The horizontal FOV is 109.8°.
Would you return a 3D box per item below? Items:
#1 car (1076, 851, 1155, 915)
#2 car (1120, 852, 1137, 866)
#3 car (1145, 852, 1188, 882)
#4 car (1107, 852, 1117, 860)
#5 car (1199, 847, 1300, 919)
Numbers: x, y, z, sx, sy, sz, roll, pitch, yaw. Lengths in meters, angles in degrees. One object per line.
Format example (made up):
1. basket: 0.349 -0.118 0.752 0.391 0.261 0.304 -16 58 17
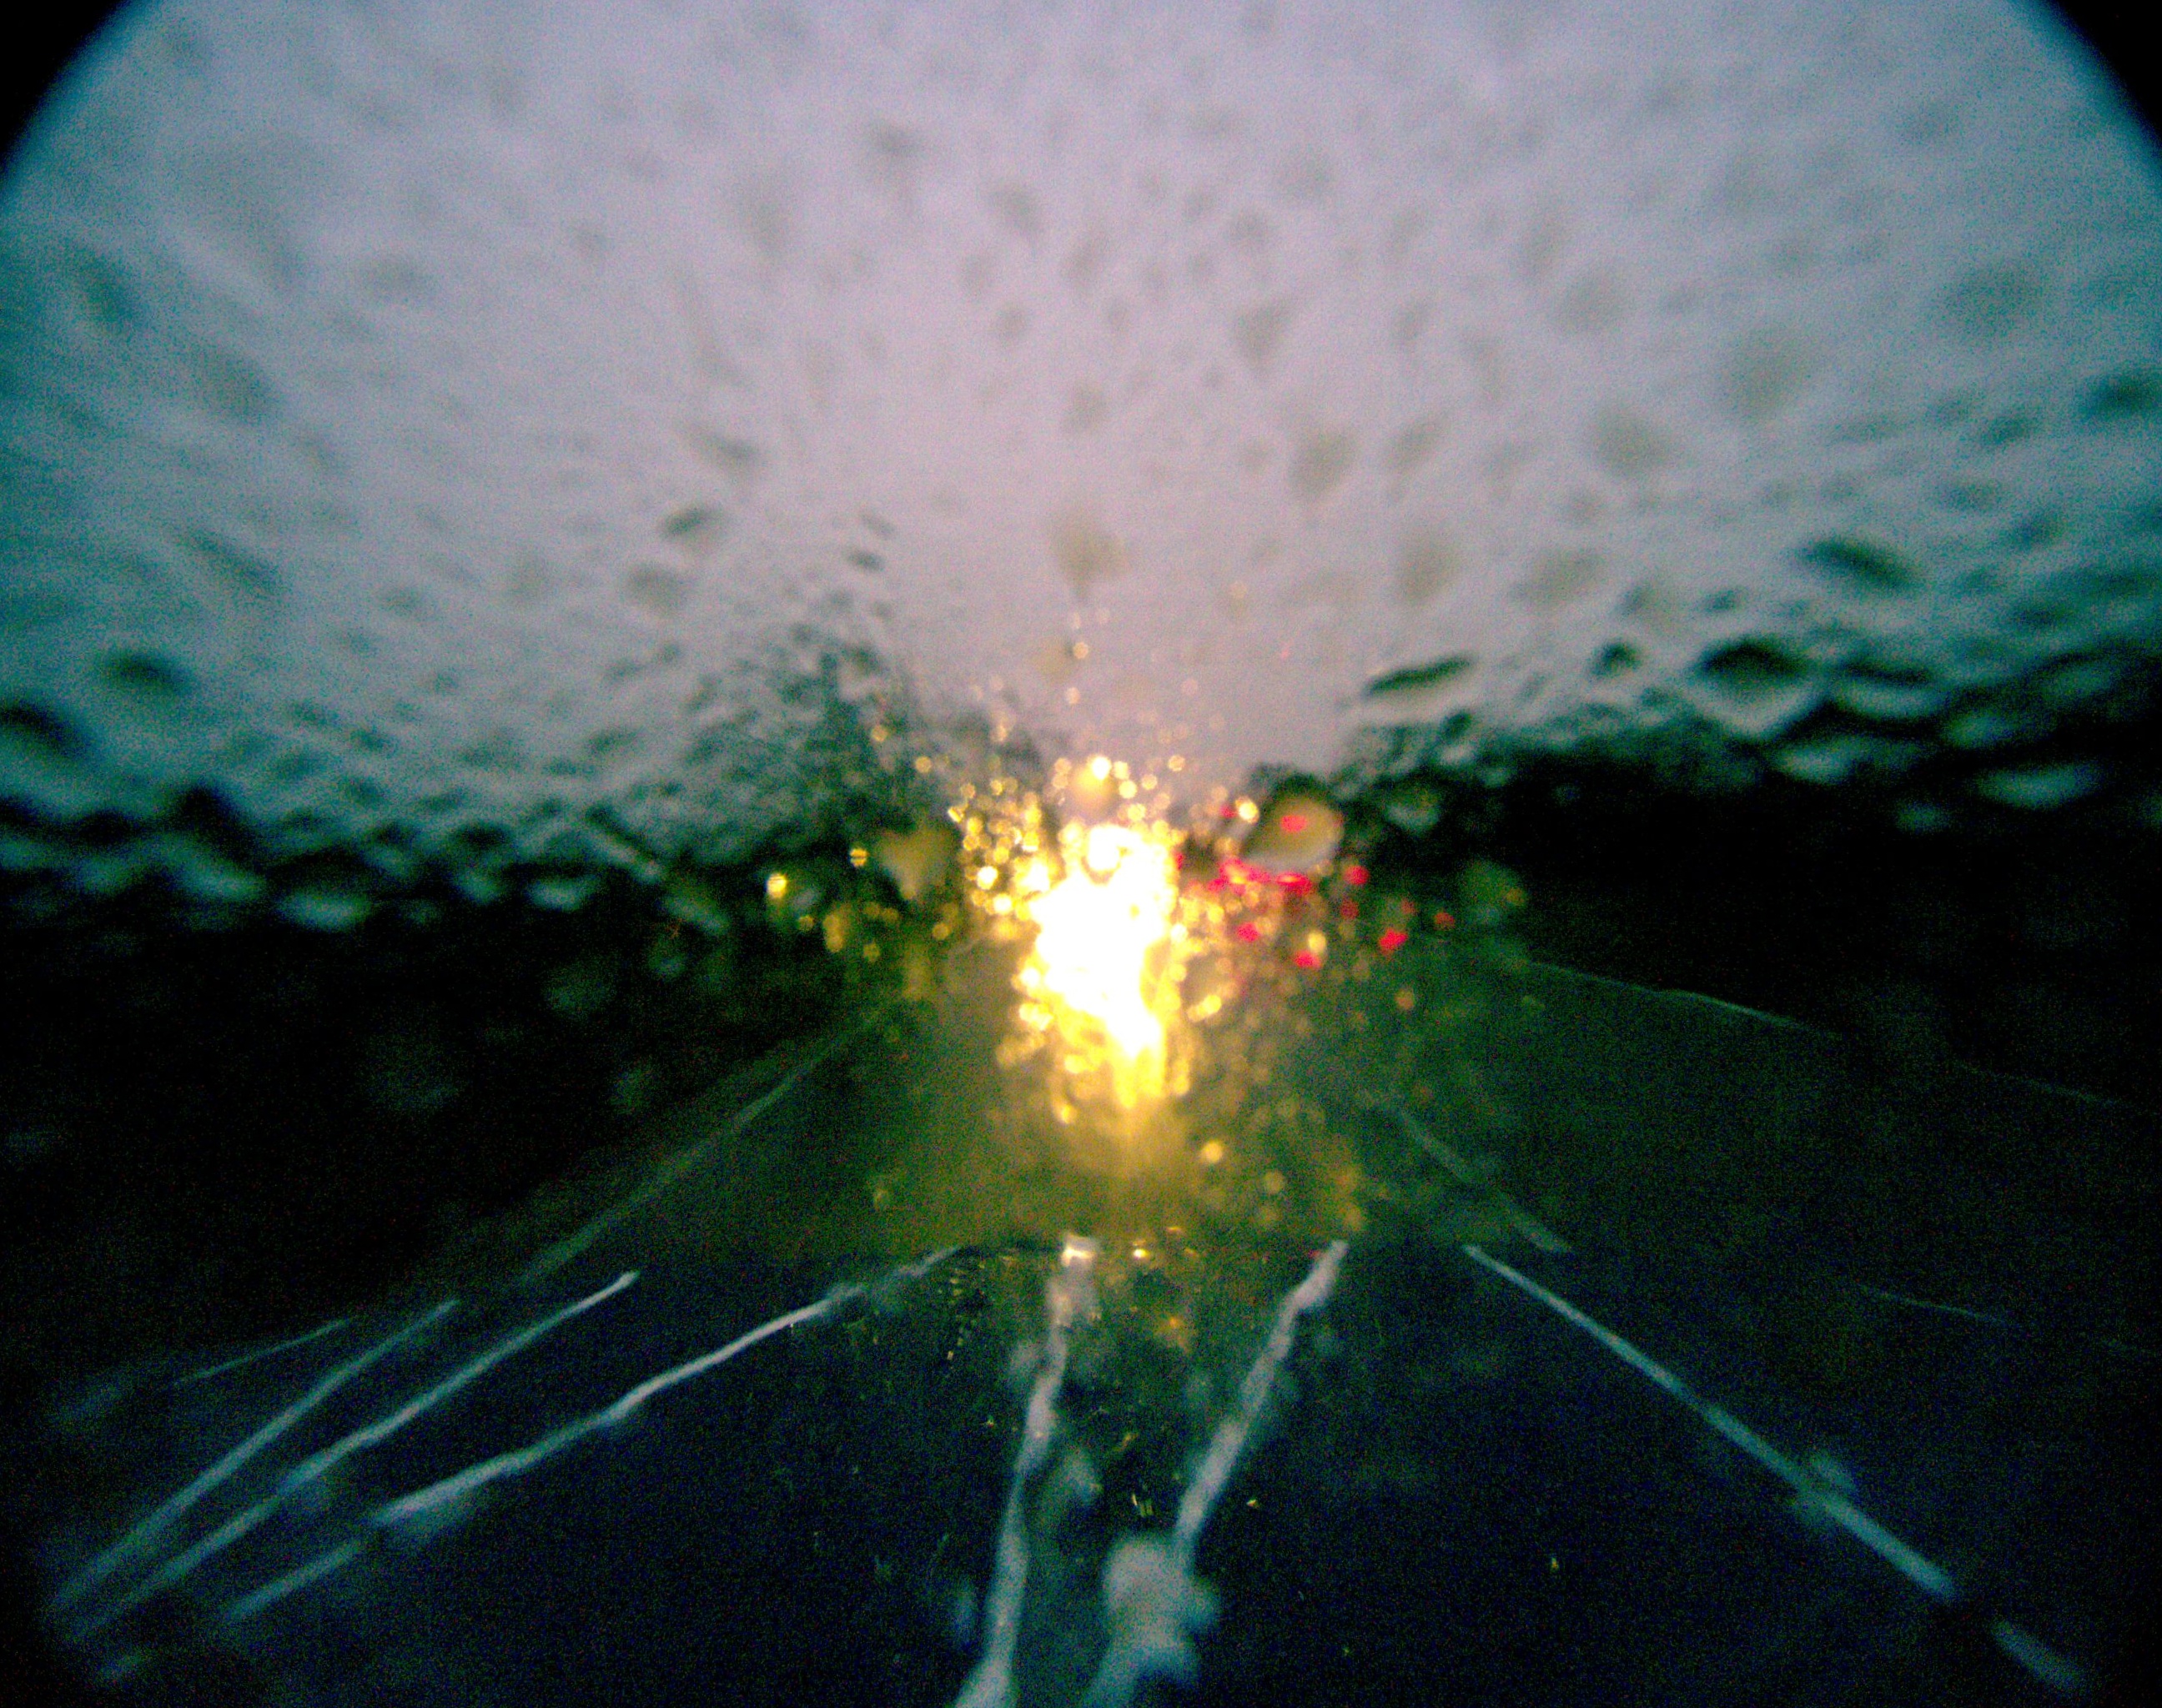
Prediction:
1. car: 1.070 0.759 21.815 1.998 1.601 4.001 -2 0 5
2. car: 5.397 0.574 87.256 1.755 1.465 3.891 -2 0 1
3. car: 4.611 0.689 41.417 1.830 1.490 4.095 -2 0 0
4. car: 6.298 0.354 153.225 1.821 1.433 3.457 -2 0 5
5. car: 4.411 0.686 20.566 1.763 1.631 4.686 -3 0 2
